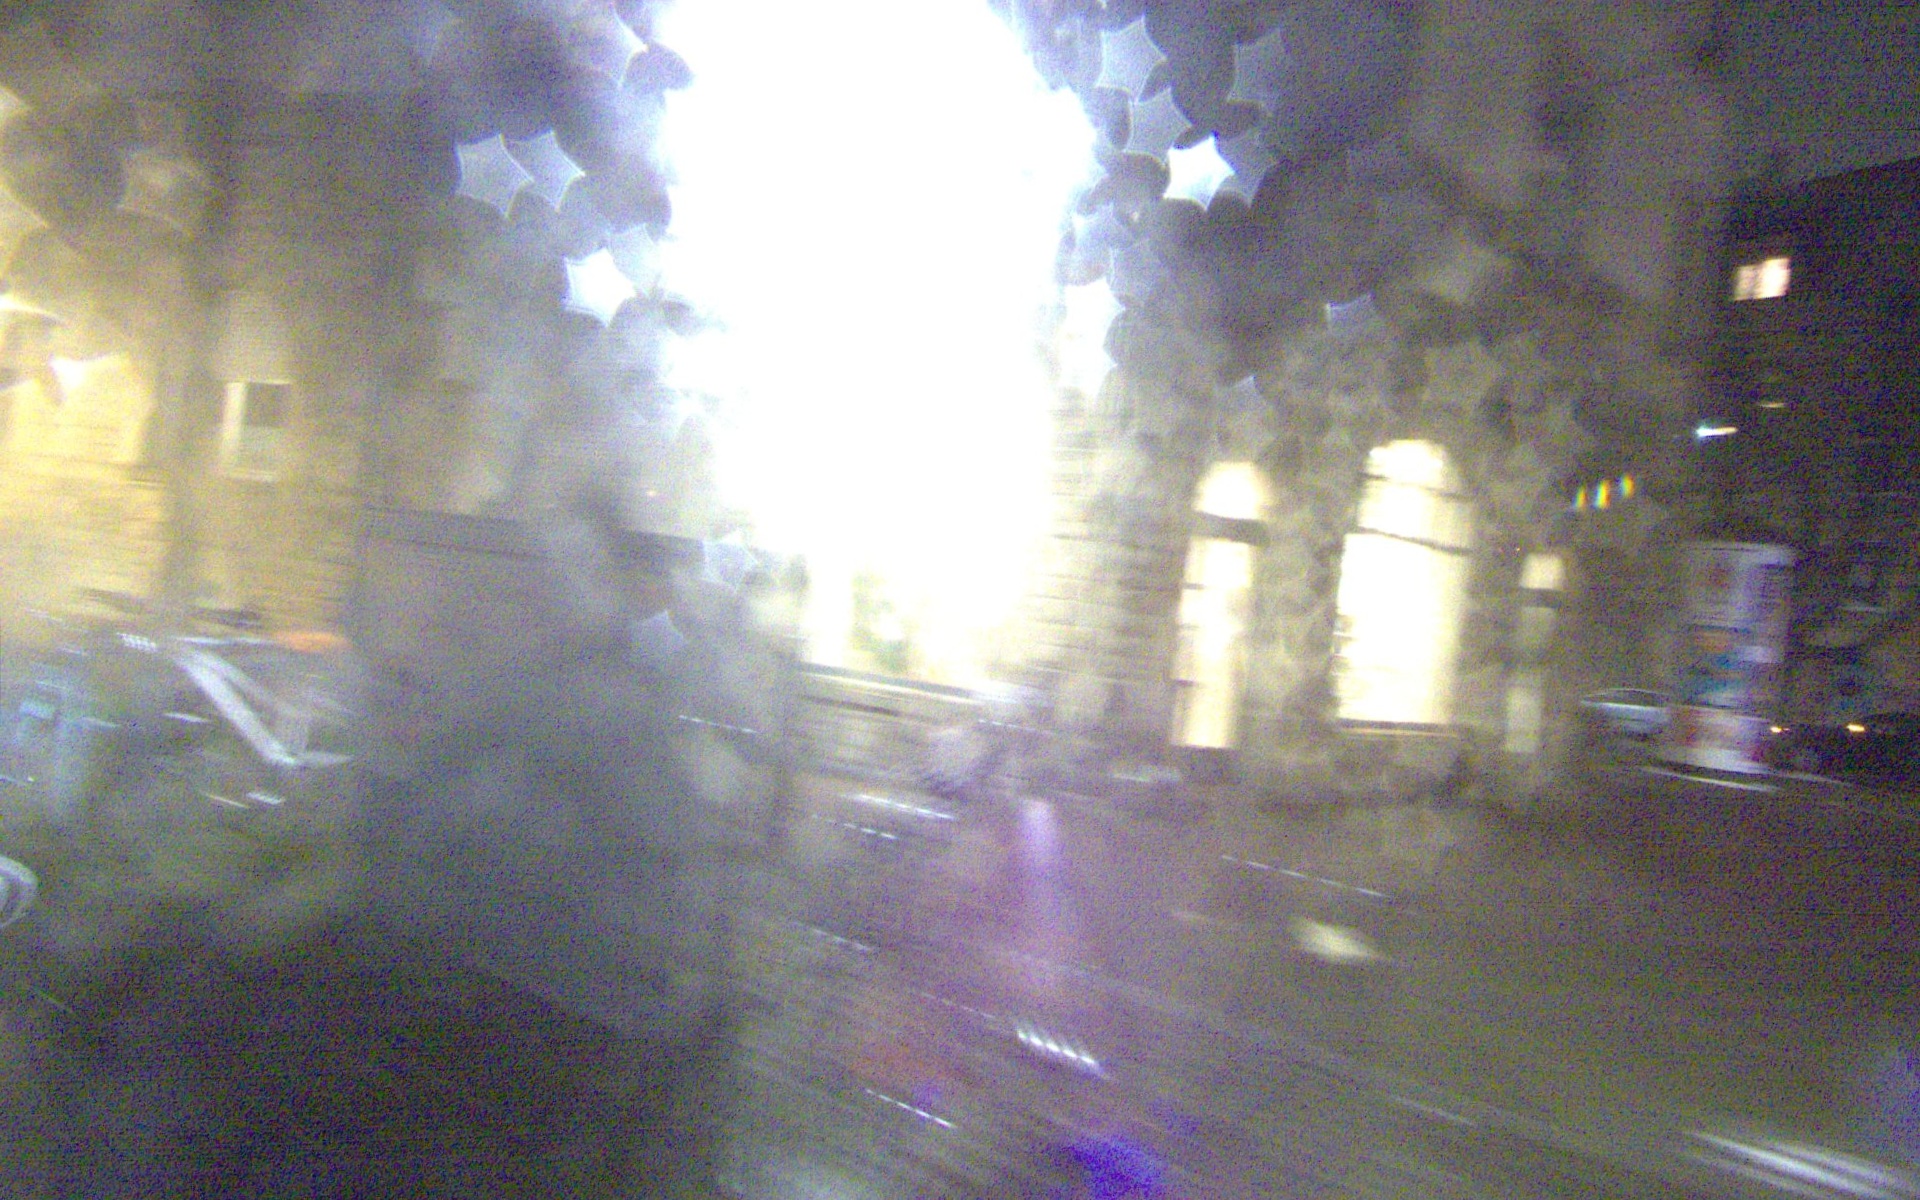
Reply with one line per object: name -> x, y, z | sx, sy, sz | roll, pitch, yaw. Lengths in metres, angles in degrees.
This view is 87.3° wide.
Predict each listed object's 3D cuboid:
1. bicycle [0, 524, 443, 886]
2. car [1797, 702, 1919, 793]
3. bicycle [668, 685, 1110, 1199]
bicycle -> -3.352, 0.365, 4.426 | 0.716, 1.233, 1.874 | 7, 1, 18
car -> 20.489, 3.266, 21.249 | 1.756, 1.597, 3.948 | 7, -1, -38
bicycle -> -0.041, 0.829, 2.649 | 0.554, 1.095, 1.625 | 4, 0, 17
